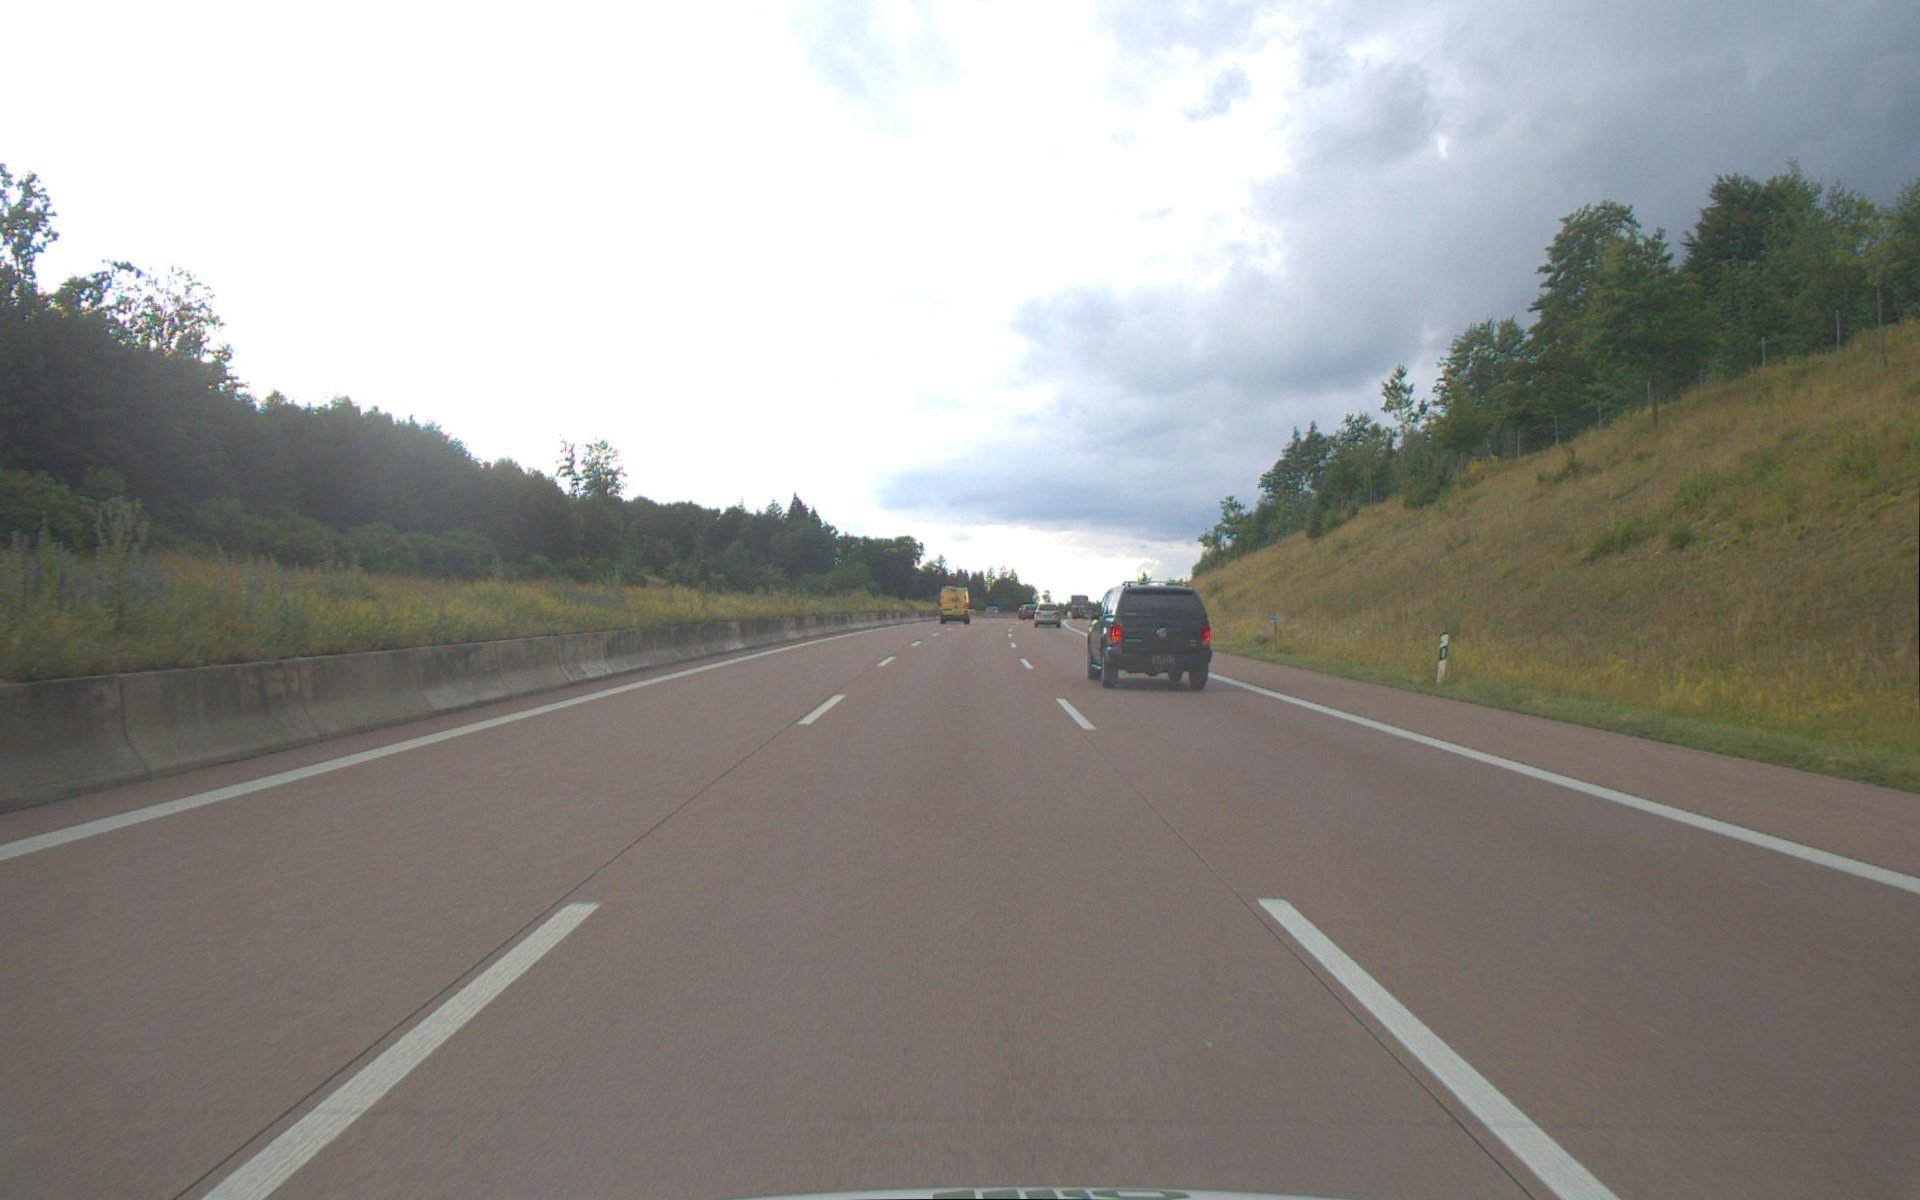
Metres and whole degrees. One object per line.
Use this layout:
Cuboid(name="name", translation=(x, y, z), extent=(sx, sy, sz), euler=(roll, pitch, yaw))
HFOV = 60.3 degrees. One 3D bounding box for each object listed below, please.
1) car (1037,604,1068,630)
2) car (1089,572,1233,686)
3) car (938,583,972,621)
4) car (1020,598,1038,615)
Cuboid(name="car", translation=(6.190, 1.145, 110.279), extent=(1.936, 1.677, 4.621), euler=(1, -1, 4))
Cuboid(name="car", translation=(3.627, 0.527, 30.860), extent=(2.002, 1.930, 5.576), euler=(0, -1, 0))
Cuboid(name="car", translation=(-0.350, 0.190, 123.574), extent=(2.408, 2.754, 5.613), euler=(0, -1, 1))
Cuboid(name="car", translation=(7.499, 0.765, 179.513), extent=(1.848, 1.795, 4.784), euler=(0, -1, 4))
